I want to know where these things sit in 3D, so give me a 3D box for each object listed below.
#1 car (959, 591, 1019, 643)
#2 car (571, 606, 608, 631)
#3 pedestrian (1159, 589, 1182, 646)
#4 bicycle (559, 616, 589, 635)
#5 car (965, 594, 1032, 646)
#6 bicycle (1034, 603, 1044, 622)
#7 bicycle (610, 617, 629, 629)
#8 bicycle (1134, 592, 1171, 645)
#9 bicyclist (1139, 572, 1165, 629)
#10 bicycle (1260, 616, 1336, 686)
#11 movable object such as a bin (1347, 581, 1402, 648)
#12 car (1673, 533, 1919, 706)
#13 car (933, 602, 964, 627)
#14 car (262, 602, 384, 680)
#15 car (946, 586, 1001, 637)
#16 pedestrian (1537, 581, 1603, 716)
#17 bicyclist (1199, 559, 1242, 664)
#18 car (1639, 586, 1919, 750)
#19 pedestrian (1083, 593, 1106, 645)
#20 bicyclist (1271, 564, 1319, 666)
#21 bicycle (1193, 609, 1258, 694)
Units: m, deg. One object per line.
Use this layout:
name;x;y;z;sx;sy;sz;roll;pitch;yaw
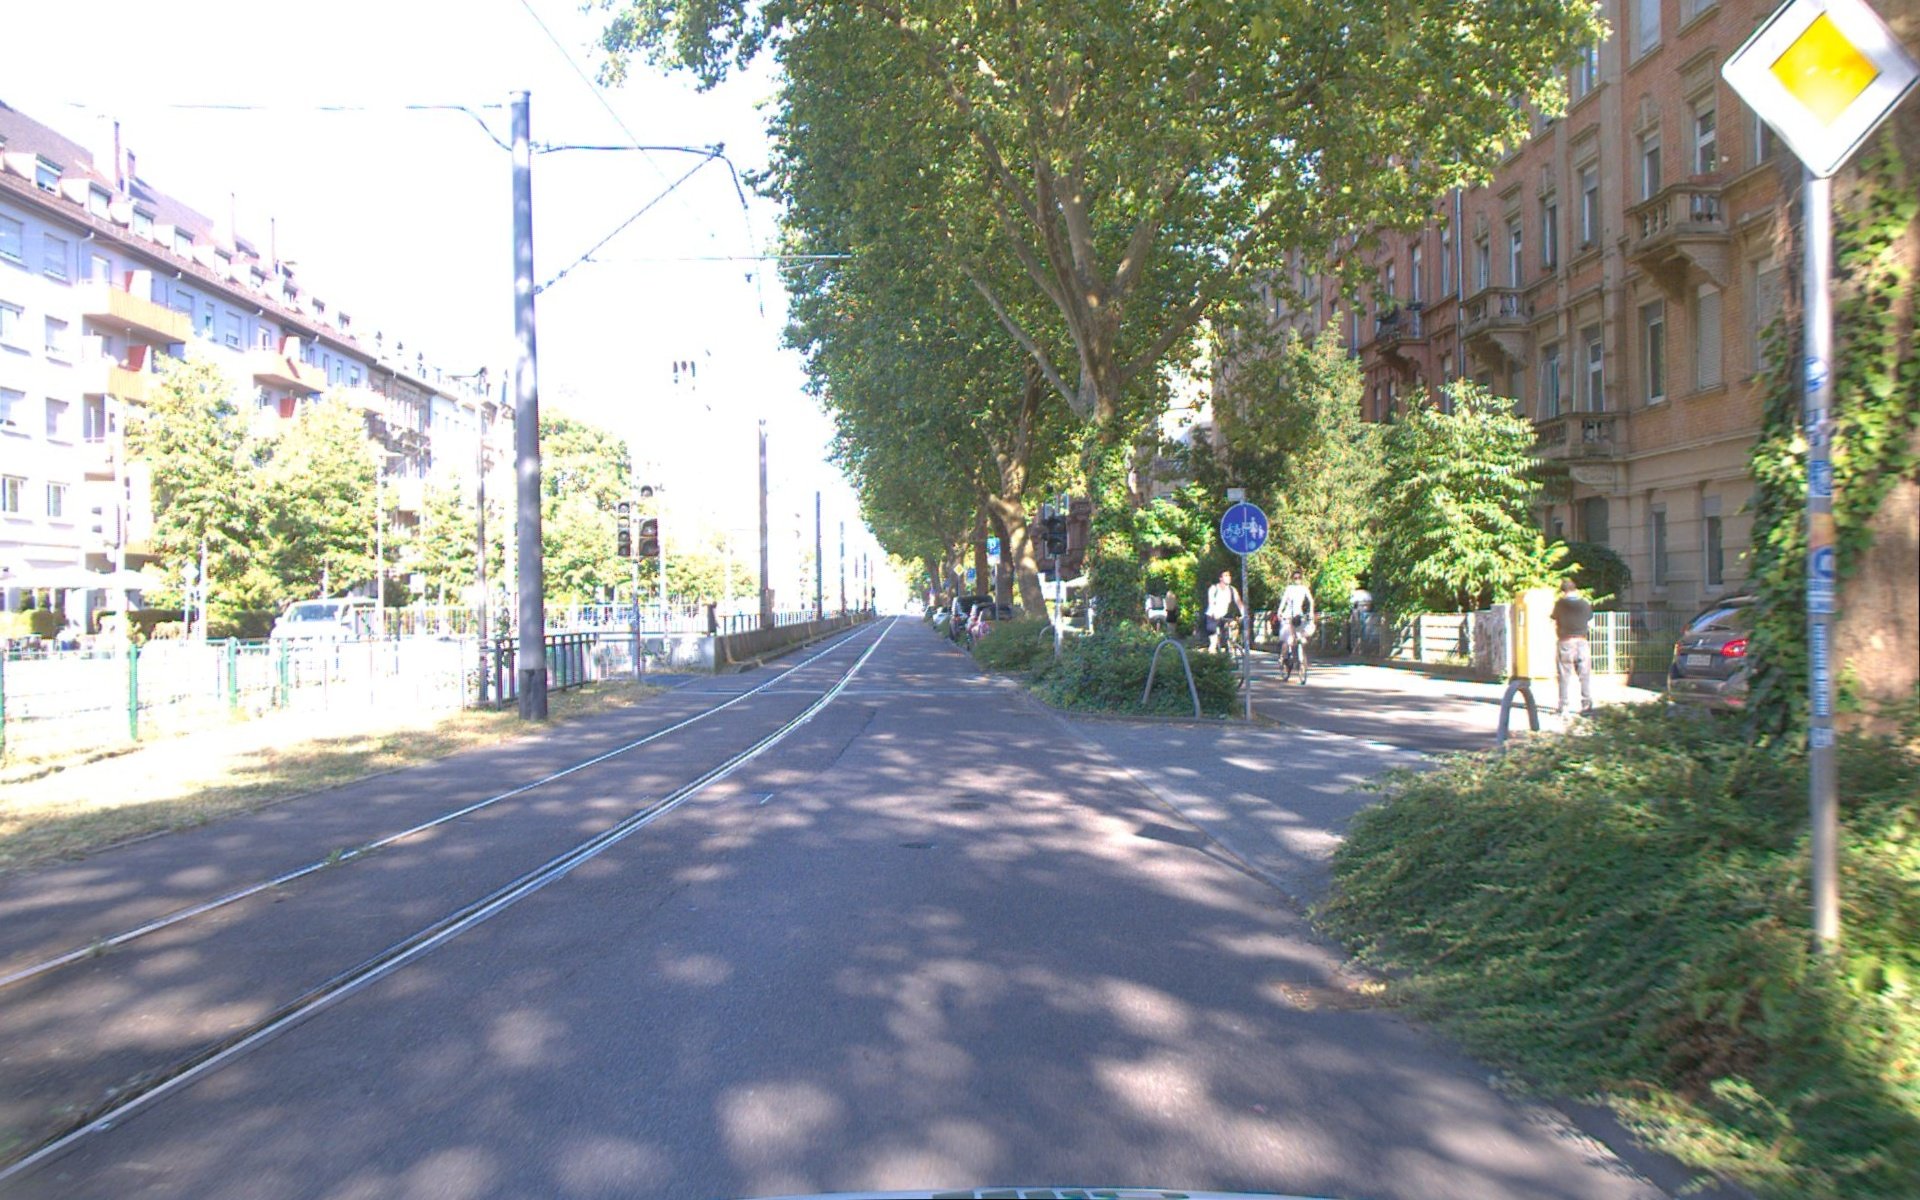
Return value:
car;0.918;0.574;54.987;1.680;1.576;4.498;-2;-1;-2
car;-24.976;1.215;111.534;1.796;1.613;3.997;1;0;-4
pedestrian;6.338;0.518;49.837;0.519;1.656;0.617;-3;1;-2
bicycle;-25.332;1.652;108.502;1.771;1.199;0.562;1;0;0
car;1.096;0.602;49.148;1.680;1.488;3.997;0;-1;-3
bicycle;5.027;0.779;105.307;0.465;1.163;1.895;-3;0;-2
bicycle;-25.713;1.739;124.865;1.253;0.921;0.533;2;0;-33
bicycle;4.838;0.459;41.720;0.549;1.198;2.225;-1;3;-3
bicyclist;4.835;0.008;41.646;0.532;1.404;0.644;-2;2;-4
bicycle;5.616;0.822;27.579;0.550;1.055;1.929;-3;1;-9
movable object such as a bin;9.613;0.328;38.434;0.889;1.490;1.083;-3;0;-4
car;11.817;0.193;21.890;3.909;2.048;1.999;-2;3;-5
car;-0.762;0.921;103.500;1.766;1.503;4.644;-1;0;-3
car;-18.515;1.171;48.333;1.955;2.049;5.006;-3;-1;-5
car;0.536;0.471;71.218;1.954;2.049;5.198;-2;0;-3
pedestrian;7.394;0.580;20.058;0.528;1.576;0.607;-2;2;-3
bicyclist;4.215;0.174;26.784;0.532;1.653;0.644;-1;2;-4
car;9.746;0.644;17.343;4.458;1.566;1.906;-1;0;-4
pedestrian;4.777;0.679;58.627;0.675;1.816;0.644;-2;1;-4
bicyclist;5.560;0.245;27.477;0.533;1.654;0.643;-2;0;-9
bicycle;4.242;0.800;26.542;0.549;1.198;2.225;-1;2;-3
